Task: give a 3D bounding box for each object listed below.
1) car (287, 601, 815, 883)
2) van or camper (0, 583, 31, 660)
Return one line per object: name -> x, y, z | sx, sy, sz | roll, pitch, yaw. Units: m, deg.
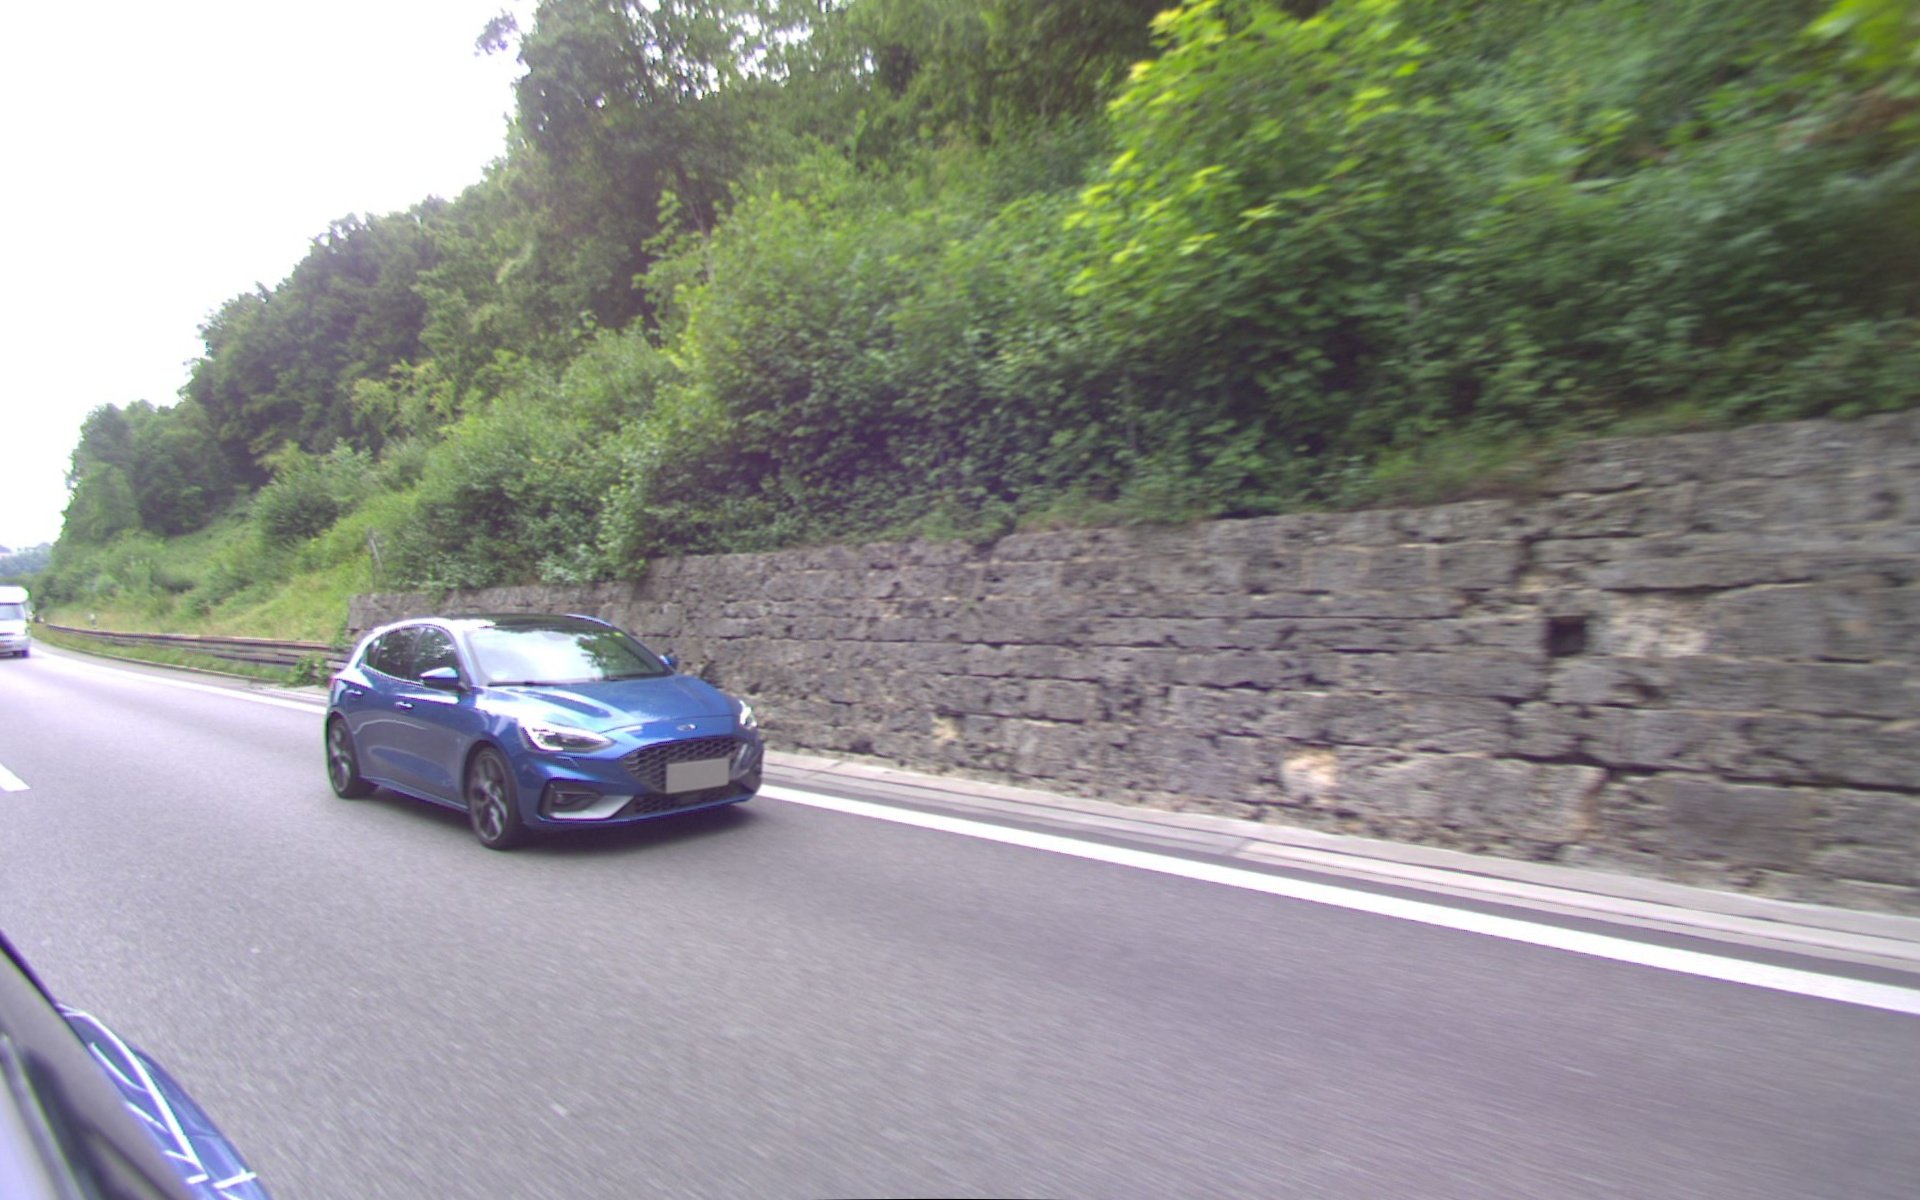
car -> -3.277, 0.783, 7.587 | 4.553, 1.480, 1.817 | -1, 0, 41
van or camper -> -37.053, 0.816, 38.350 | 7.025, 2.756, 2.240 | -1, -1, 44
